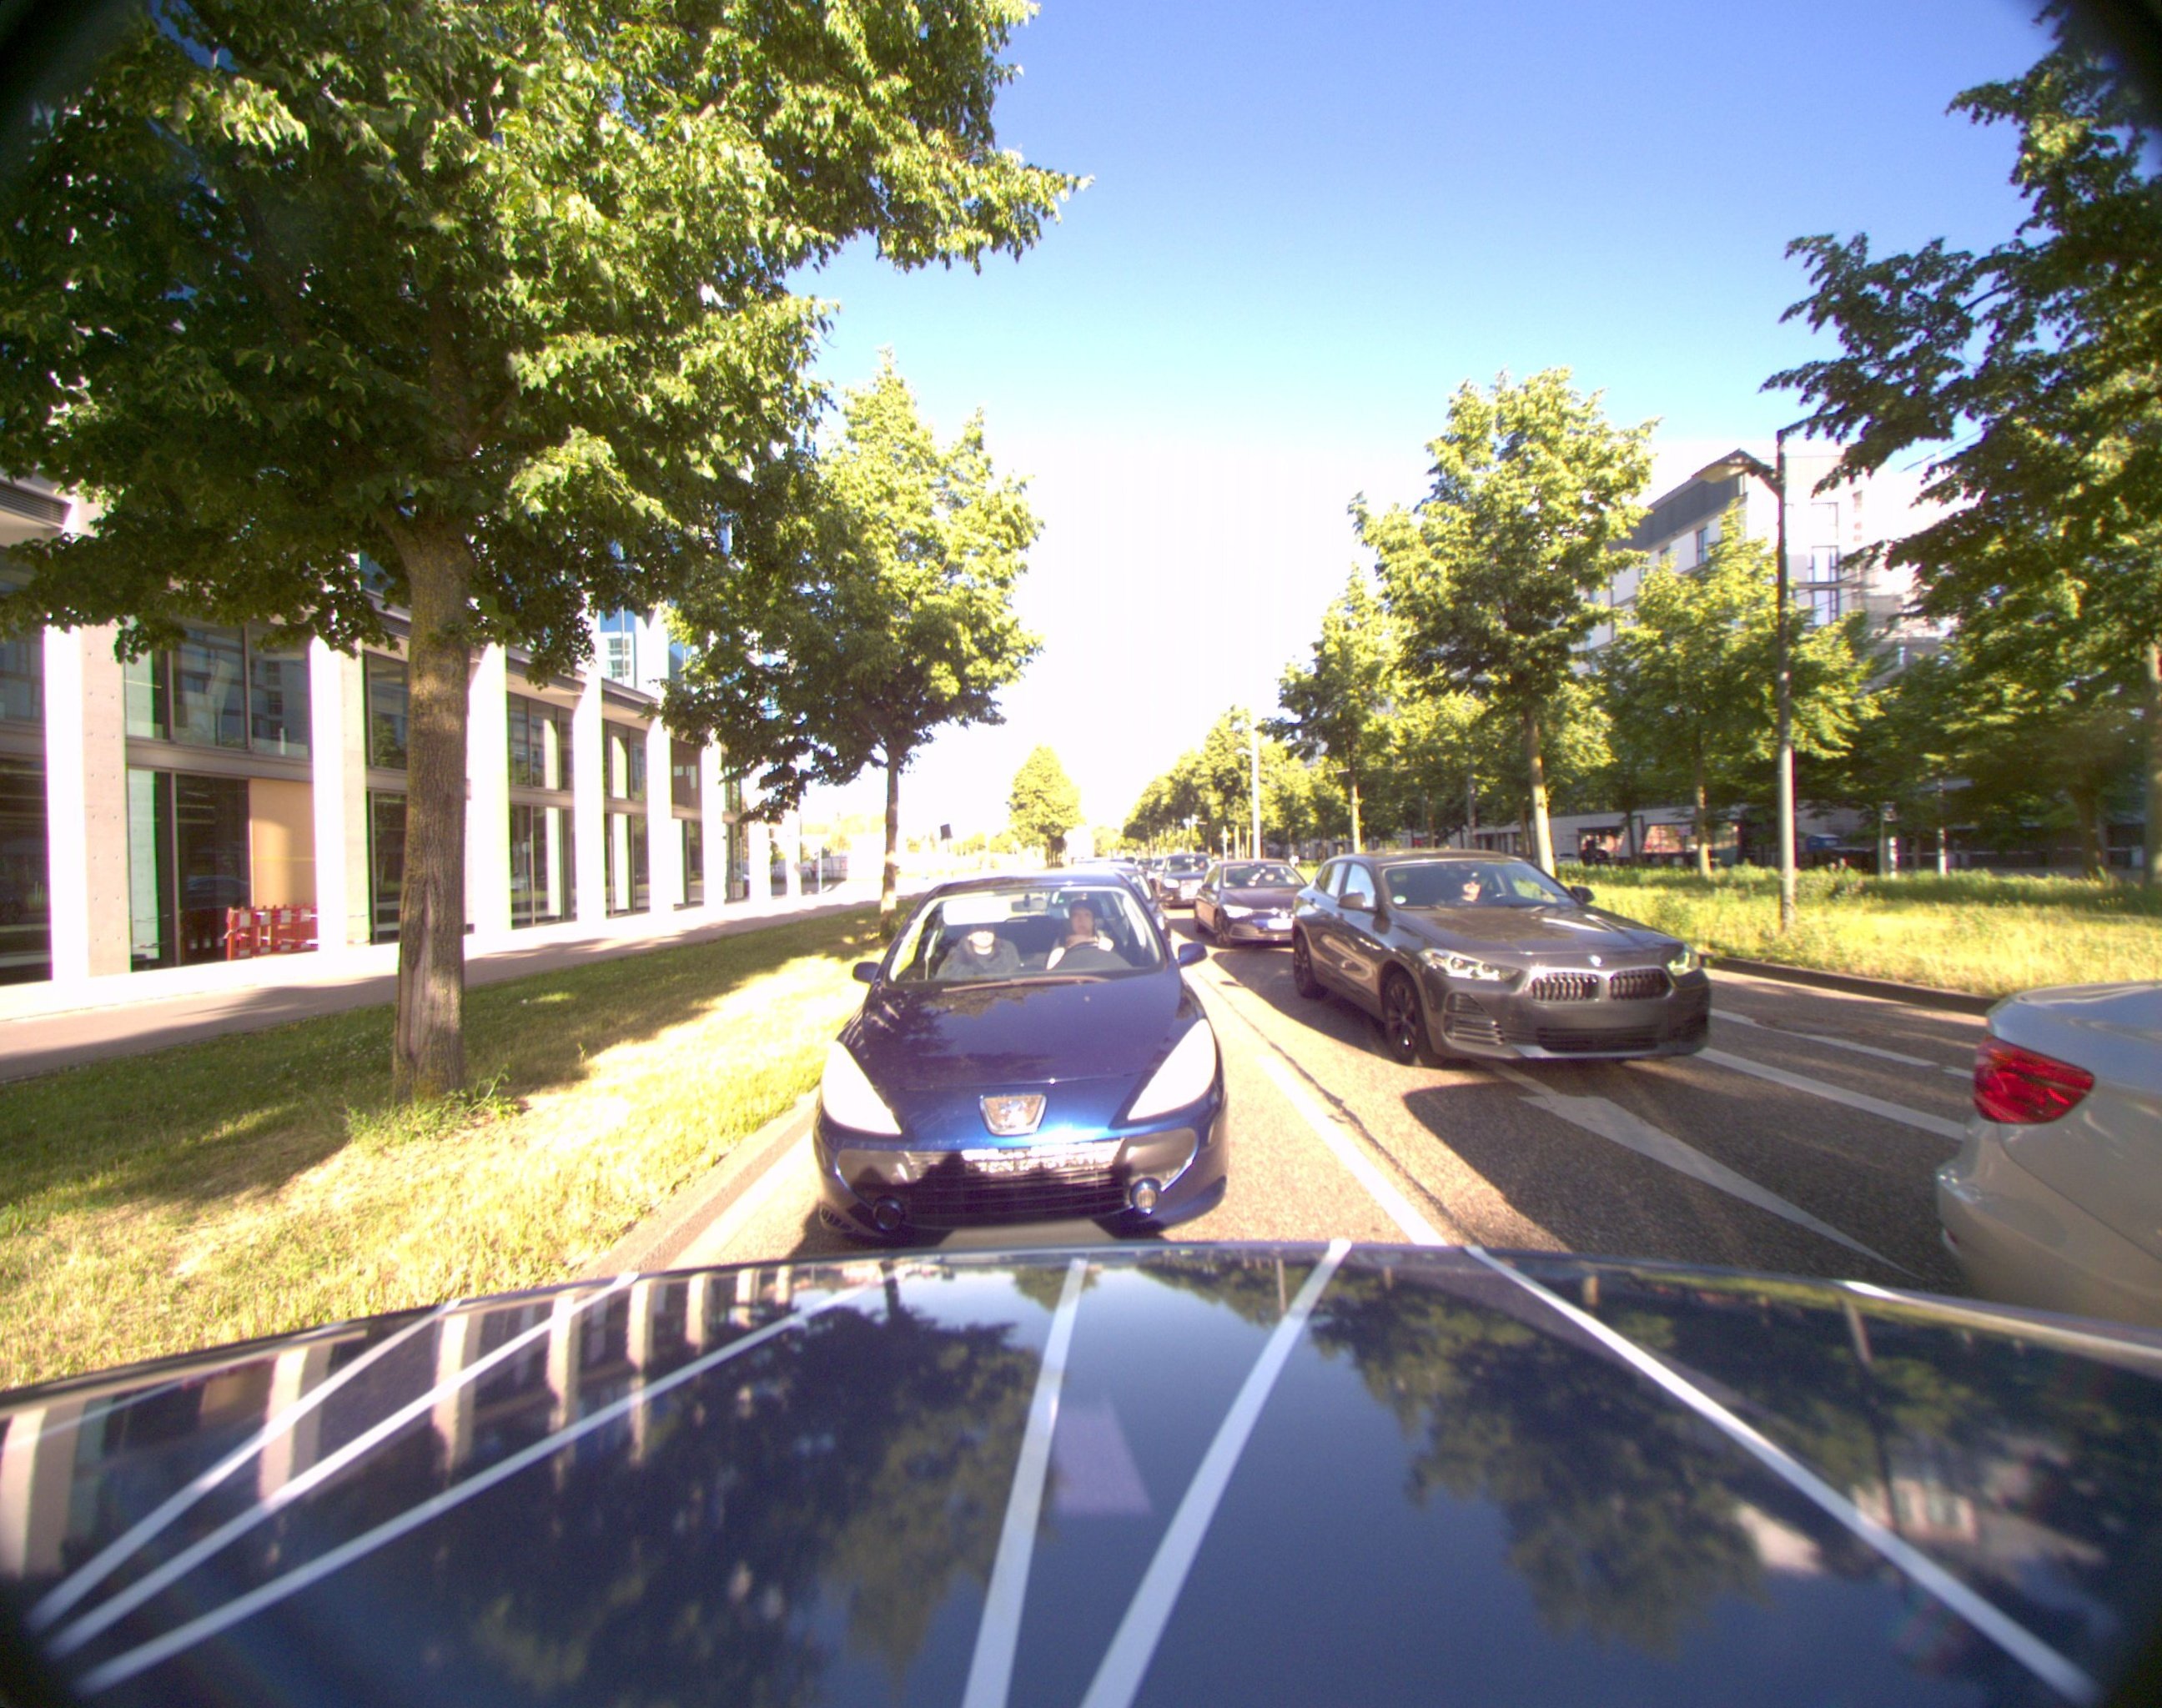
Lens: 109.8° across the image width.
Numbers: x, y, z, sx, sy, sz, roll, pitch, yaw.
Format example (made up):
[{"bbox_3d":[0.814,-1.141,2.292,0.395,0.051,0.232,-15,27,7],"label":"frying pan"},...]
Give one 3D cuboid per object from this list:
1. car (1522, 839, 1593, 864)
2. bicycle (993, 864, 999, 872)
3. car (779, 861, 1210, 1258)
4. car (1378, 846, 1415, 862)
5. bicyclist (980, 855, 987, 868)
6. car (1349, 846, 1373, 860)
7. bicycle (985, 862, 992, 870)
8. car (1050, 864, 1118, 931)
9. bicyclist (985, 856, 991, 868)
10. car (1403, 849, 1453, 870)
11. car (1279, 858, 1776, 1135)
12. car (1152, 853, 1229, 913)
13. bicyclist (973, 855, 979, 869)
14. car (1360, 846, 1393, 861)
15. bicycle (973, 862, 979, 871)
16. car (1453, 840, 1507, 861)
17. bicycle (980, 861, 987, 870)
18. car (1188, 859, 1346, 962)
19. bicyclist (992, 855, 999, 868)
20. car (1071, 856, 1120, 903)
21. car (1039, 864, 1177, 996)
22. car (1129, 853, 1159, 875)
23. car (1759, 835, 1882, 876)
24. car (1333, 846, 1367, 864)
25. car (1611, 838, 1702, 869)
[{"bbox_3d":[34.834,-0.171,55.733,2.012,1.689,4.791,-1,0,-3],"label":"car"},{"bbox_3d":[-8.974,1.502,80.109,0.464,0.813,1.344,-2,1,1],"label":"bicycle"},{"bbox_3d":[-0.320,0.846,4.936,1.686,1.513,3.785,-1,0,1],"label":"car"},{"bbox_3d":[34.665,0.000,83.571,2.012,1.689,4.791,-1,0,-1],"label":"car"},{"bbox_3d":[-10.215,0.768,79.655,0.534,1.282,0.457,-2,1,1],"label":"bicyclist"},{"bbox_3d":[34.705,-0.161,94.206,1.601,1.659,3.743,-1,0,1],"label":"car"},{"bbox_3d":[-9.244,1.209,75.837,0.464,0.813,1.344,-2,1,1],"label":"bicycle"},{"bbox_3d":[0.085,0.950,18.103,1.407,1.326,3.785,-1,0,1],"label":"car"},{"bbox_3d":[-9.275,0.786,75.864,0.534,1.210,0.507,-2,1,1],"label":"bicyclist"},{"bbox_3d":[23.926,0.365,52.535,1.666,1.384,4.000,-1,0,1],"label":"car"},{"bbox_3d":[3.084,0.832,6.367,1.812,1.513,4.029,-1,0,1],"label":"car"},{"bbox_3d":[3.164,0.798,22.764,1.812,1.581,4.165,-1,0,2],"label":"car"},{"bbox_3d":[-10.478,0.795,75.947,0.448,1.282,0.418,-2,1,1],"label":"bicyclist"},{"bbox_3d":[34.696,-0.050,89.378,2.012,1.689,4.791,-1,0,-1],"label":"car"},{"bbox_3d":[-10.471,1.255,75.909,0.415,0.813,1.320,-2,1,1],"label":"bicycle"},{"bbox_3d":[34.631,-0.271,66.071,2.012,1.689,4.791,-1,0,-3],"label":"car"},{"bbox_3d":[-10.202,1.206,79.743,0.464,0.813,1.344,-2,1,1],"label":"bicycle"},{"bbox_3d":[3.048,0.852,13.333,1.812,1.445,4.254,-1,0,2],"label":"car"},{"bbox_3d":[-9.001,0.809,80.046,0.534,1.282,0.521,-2,1,1],"label":"bicyclist"},{"bbox_3d":[0.531,0.918,28.718,1.705,1.591,3.785,-1,0,1],"label":"car"},{"bbox_3d":[0.348,0.940,11.285,1.612,1.463,4.395,-1,0,1],"label":"car"},{"bbox_3d":[5.267,0.786,63.885,2.012,1.689,4.791,-1,0,-1],"label":"car"},{"bbox_3d":[34.233,0.051,35.330,1.858,1.739,4.000,-1,0,1],"label":"car"},{"bbox_3d":[27.822,0.093,78.836,1.858,1.719,4.792,-1,0,1],"label":"car"},{"bbox_3d":[34.422,-0.039,45.608,1.858,1.674,4.792,-1,0,1],"label":"car"}]
